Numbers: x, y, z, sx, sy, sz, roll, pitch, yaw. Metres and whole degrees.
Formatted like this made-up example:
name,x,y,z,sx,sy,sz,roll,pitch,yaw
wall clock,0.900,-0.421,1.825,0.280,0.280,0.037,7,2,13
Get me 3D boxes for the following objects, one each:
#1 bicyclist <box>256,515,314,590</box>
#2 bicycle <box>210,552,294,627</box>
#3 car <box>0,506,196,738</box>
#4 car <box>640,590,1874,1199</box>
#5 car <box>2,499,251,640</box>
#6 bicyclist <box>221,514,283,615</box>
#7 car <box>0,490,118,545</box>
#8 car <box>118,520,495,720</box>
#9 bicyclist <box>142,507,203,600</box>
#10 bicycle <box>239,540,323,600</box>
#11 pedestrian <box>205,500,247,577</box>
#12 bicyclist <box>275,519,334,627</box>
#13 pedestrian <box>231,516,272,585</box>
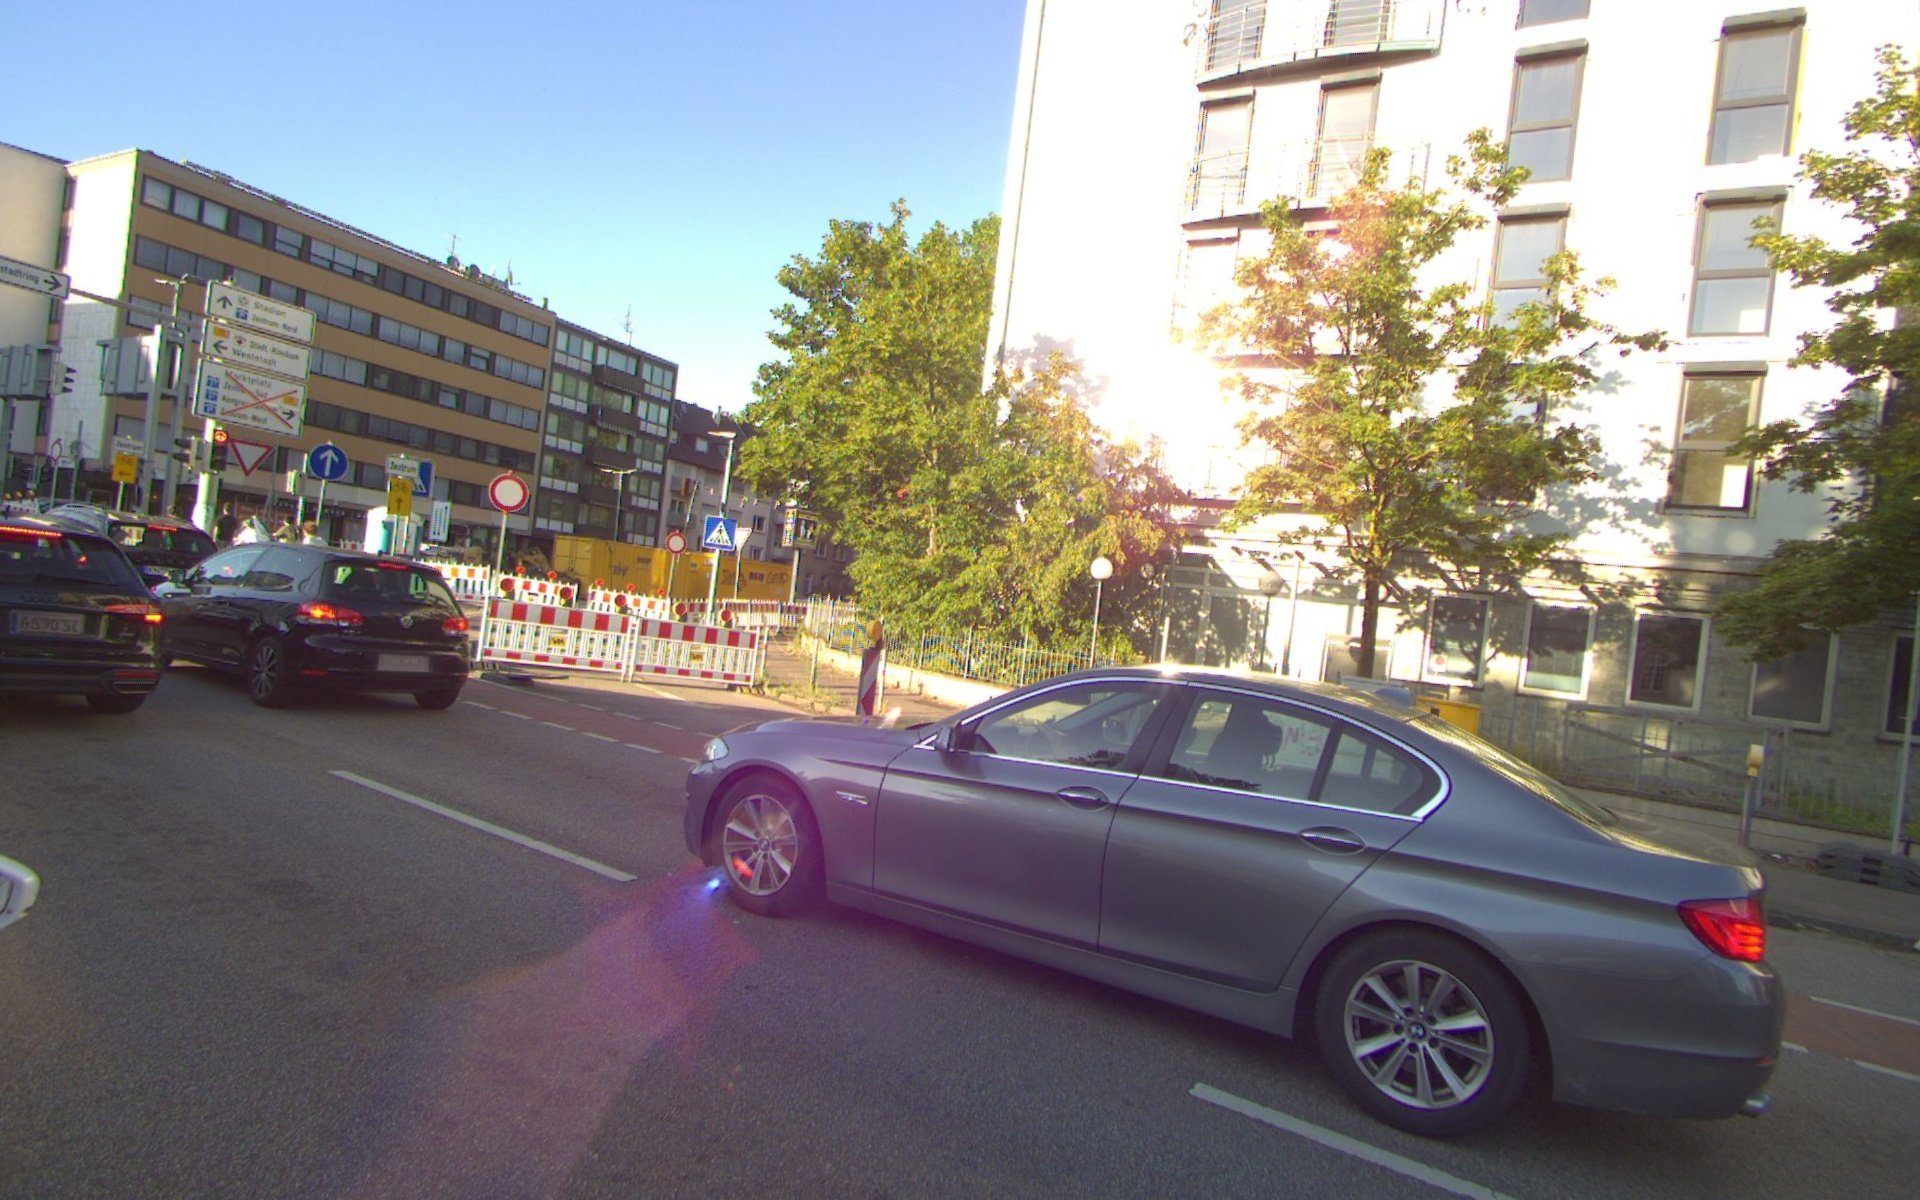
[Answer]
name,x,y,z,sx,sy,sz,roll,pitch,yaw
bicyclist,-15.881,-1.106,23.691,0.802,1.608,0.617,8,0,-17
bicycle,-11.477,-0.175,16.282,1.825,1.020,0.337,7,0,32
car,-7.665,-0.046,7.470,4.144,1.437,1.685,7,-2,32
car,0.901,0.998,4.724,4.587,1.466,1.819,7,-1,29
car,-11.124,-0.420,13.393,3.250,1.467,1.507,7,0,32
bicyclist,-11.496,-0.569,16.327,0.713,1.544,0.441,7,0,32
car,-31.893,-2.907,34.647,1.670,1.459,4.244,7,-1,10
car,-6.601,0.173,10.087,3.683,1.466,1.637,7,-2,32
bicyclist,-13.951,-0.825,17.825,0.713,1.544,0.514,7,0,32
bicycle,-15.956,-0.696,23.664,1.478,1.175,0.372,9,-1,-17
pedestrian,-18.536,-1.550,25.408,0.479,1.857,0.570,7,0,34
bicyclist,-9.804,-0.405,15.038,0.474,1.544,0.441,7,0,31
pedestrian,-18.280,-1.280,25.961,0.447,1.691,0.602,7,0,33
